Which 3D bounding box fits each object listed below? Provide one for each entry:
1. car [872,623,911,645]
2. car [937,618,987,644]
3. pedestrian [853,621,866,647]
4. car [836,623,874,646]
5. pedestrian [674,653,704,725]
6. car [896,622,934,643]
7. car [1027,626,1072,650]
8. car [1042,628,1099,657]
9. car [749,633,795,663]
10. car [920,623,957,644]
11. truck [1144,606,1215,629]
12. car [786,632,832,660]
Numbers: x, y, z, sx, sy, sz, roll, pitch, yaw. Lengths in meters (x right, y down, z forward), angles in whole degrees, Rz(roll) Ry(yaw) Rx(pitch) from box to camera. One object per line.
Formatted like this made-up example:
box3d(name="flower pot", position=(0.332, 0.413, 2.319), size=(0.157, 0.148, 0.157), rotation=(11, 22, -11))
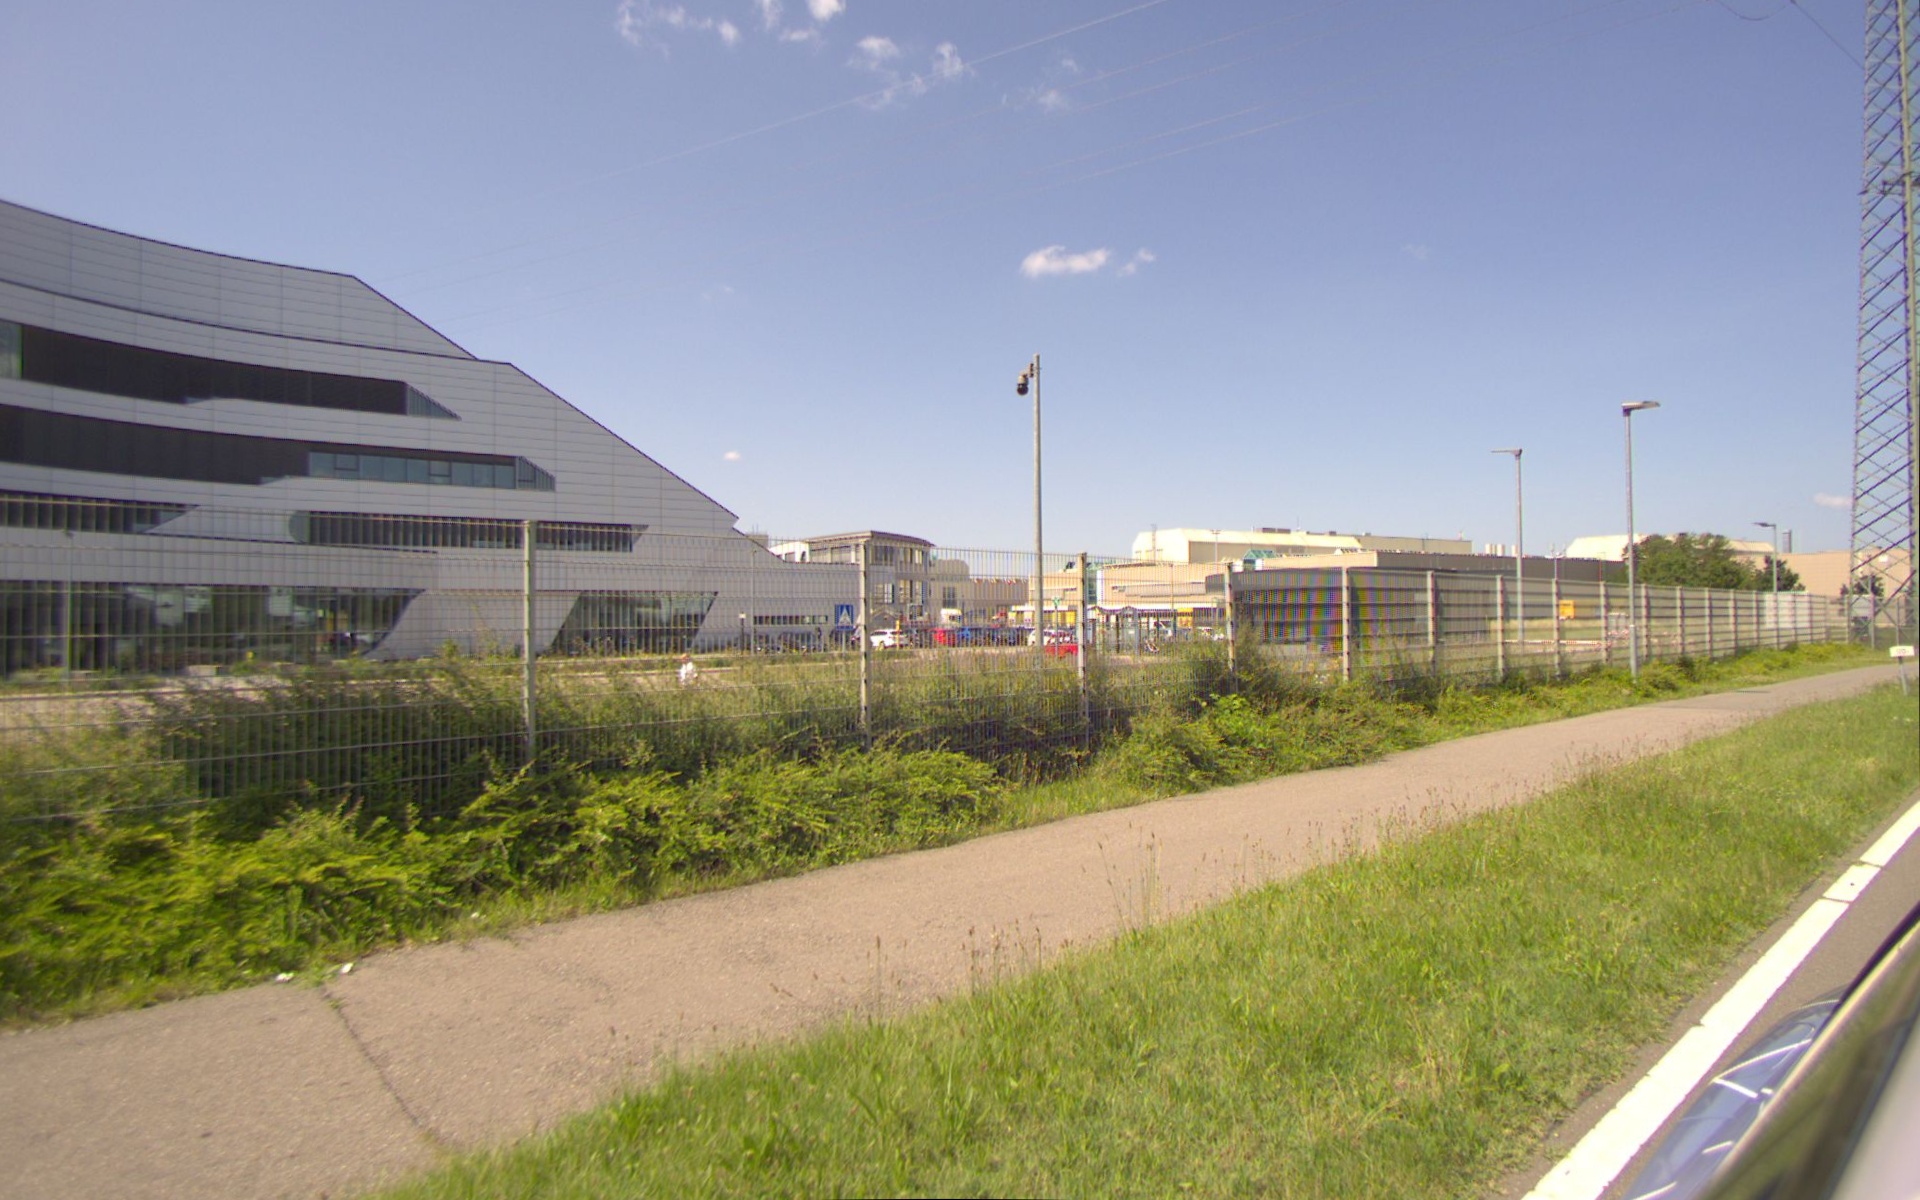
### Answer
box3d(name="car", position=(-5.037, 2.440, 74.081), size=(1.443, 1.554, 3.057), rotation=(0, -1, -34))
box3d(name="car", position=(0.134, 2.560, 84.069), size=(1.960, 2.040, 4.756), rotation=(0, -2, -31))
box3d(name="pedestrian", position=(-7.015, 2.381, 70.762), size=(0.674, 1.767, 0.612), rotation=(0, 0, -35))
box3d(name="car", position=(-7.576, 2.466, 72.824), size=(1.443, 1.554, 3.057), rotation=(0, -1, -34))
box3d(name="pedestrian", position=(-6.550, 2.136, 24.434), size=(0.563, 1.674, 0.484), rotation=(0, -2, -36))
box3d(name="car", position=(-3.401, 2.427, 76.007), size=(1.443, 1.554, 3.057), rotation=(0, -1, -34))
box3d(name="car", position=(6.152, 2.600, 69.880), size=(1.443, 1.554, 3.057), rotation=(0, -1, -34))
box3d(name="car", position=(6.168, 2.371, 56.800), size=(1.427, 1.554, 3.152), rotation=(0, -1, -35))
box3d(name="car", position=(-10.628, 2.675, 57.038), size=(1.443, 1.554, 3.057), rotation=(0, -1, -34))
box3d(name="car", position=(-1.670, 2.557, 77.780), size=(1.443, 1.554, 3.057), rotation=(0, -1, -34))
box3d(name="truck", position=(31.921, 2.462, 146.632), size=(11.614, 3.178, 2.001), rotation=(0, -2, -30))
box3d(name="car", position=(-8.731, 2.648, 58.573), size=(1.443, 1.554, 3.057), rotation=(0, -1, -34))
